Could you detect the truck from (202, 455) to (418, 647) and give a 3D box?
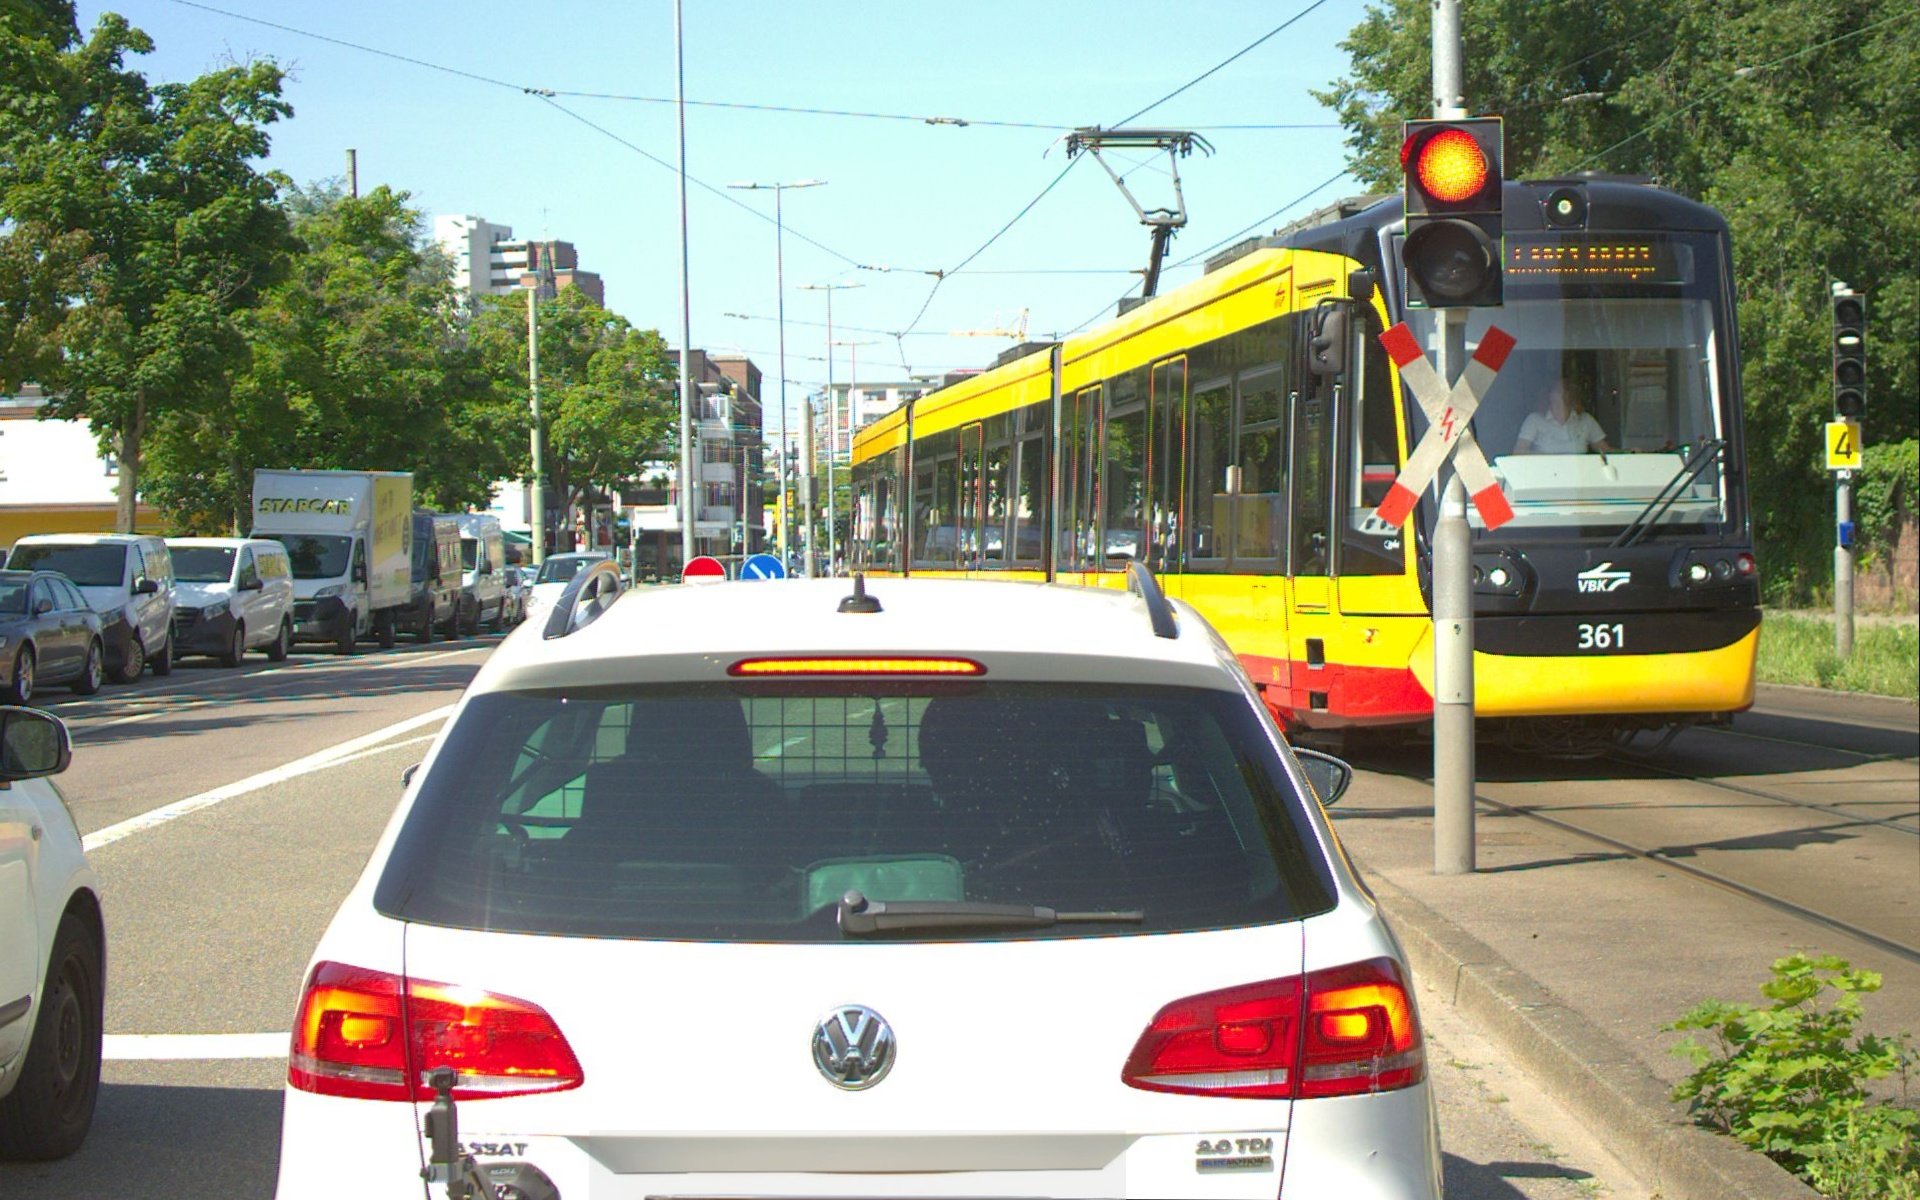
[{"bbox_3d":[-11.299,-0.876,60.320,2.421,3.139,6.997,1,1,0],"label":"truck"}]

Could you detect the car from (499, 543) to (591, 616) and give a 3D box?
[{"bbox_3d":[-11.037,-0.575,91.689,1.863,1.861,5.414,1,1,-1],"label":"car"}]

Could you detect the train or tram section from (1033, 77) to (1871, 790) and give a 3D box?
[{"bbox_3d":[2.844,-1.028,24.959,2.870,3.842,12.394,-1,1,-7],"label":"train or tram section"}]

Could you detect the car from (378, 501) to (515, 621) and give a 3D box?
[{"bbox_3d":[-11.258,-0.887,75.758,2.123,2.508,5.733,1,1,0],"label":"car"}]

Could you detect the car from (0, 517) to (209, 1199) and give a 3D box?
[{"bbox_3d":[-2.944,0.595,7.334,1.662,1.542,4.547,0,1,0],"label":"car"}]

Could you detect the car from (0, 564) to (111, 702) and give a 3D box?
[{"bbox_3d":[-11.004,0.322,38.751,1.863,1.411,4.280,1,1,-1],"label":"car"}]

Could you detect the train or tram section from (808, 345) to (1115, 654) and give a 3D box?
[{"bbox_3d":[-0.200,-1.362,48.664,2.870,3.842,10.541,-1,1,-8],"label":"train or tram section"}]

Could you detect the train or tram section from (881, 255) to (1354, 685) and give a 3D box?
[{"bbox_3d":[1.299,-1.288,37.280,2.870,3.842,12.395,-1,1,-8],"label":"train or tram section"}]

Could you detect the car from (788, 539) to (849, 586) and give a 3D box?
[{"bbox_3d":[-4.607,-1.240,112.423,1.705,1.468,4.589,-2,1,1],"label":"car"}]

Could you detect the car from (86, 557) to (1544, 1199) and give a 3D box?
[{"bbox_3d":[-0.189,0.670,6.204,1.762,1.425,4.000,-1,1,-1],"label":"car"}]

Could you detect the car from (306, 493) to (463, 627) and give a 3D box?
[{"bbox_3d":[-11.372,-0.816,68.322,2.123,2.508,5.733,1,1,0],"label":"car"}]

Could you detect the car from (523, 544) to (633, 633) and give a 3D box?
[{"bbox_3d":[-7.205,-0.234,65.042,1.676,1.548,3.580,-3,1,-1],"label":"car"}]

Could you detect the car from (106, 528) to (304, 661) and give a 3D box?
[{"bbox_3d":[-11.318,-0.129,51.907,1.863,1.861,5.414,1,1,-1],"label":"car"}]

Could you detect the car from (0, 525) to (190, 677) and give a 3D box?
[{"bbox_3d":[-11.415,-0.034,45.323,1.863,1.861,5.075,1,1,-6],"label":"car"}]
